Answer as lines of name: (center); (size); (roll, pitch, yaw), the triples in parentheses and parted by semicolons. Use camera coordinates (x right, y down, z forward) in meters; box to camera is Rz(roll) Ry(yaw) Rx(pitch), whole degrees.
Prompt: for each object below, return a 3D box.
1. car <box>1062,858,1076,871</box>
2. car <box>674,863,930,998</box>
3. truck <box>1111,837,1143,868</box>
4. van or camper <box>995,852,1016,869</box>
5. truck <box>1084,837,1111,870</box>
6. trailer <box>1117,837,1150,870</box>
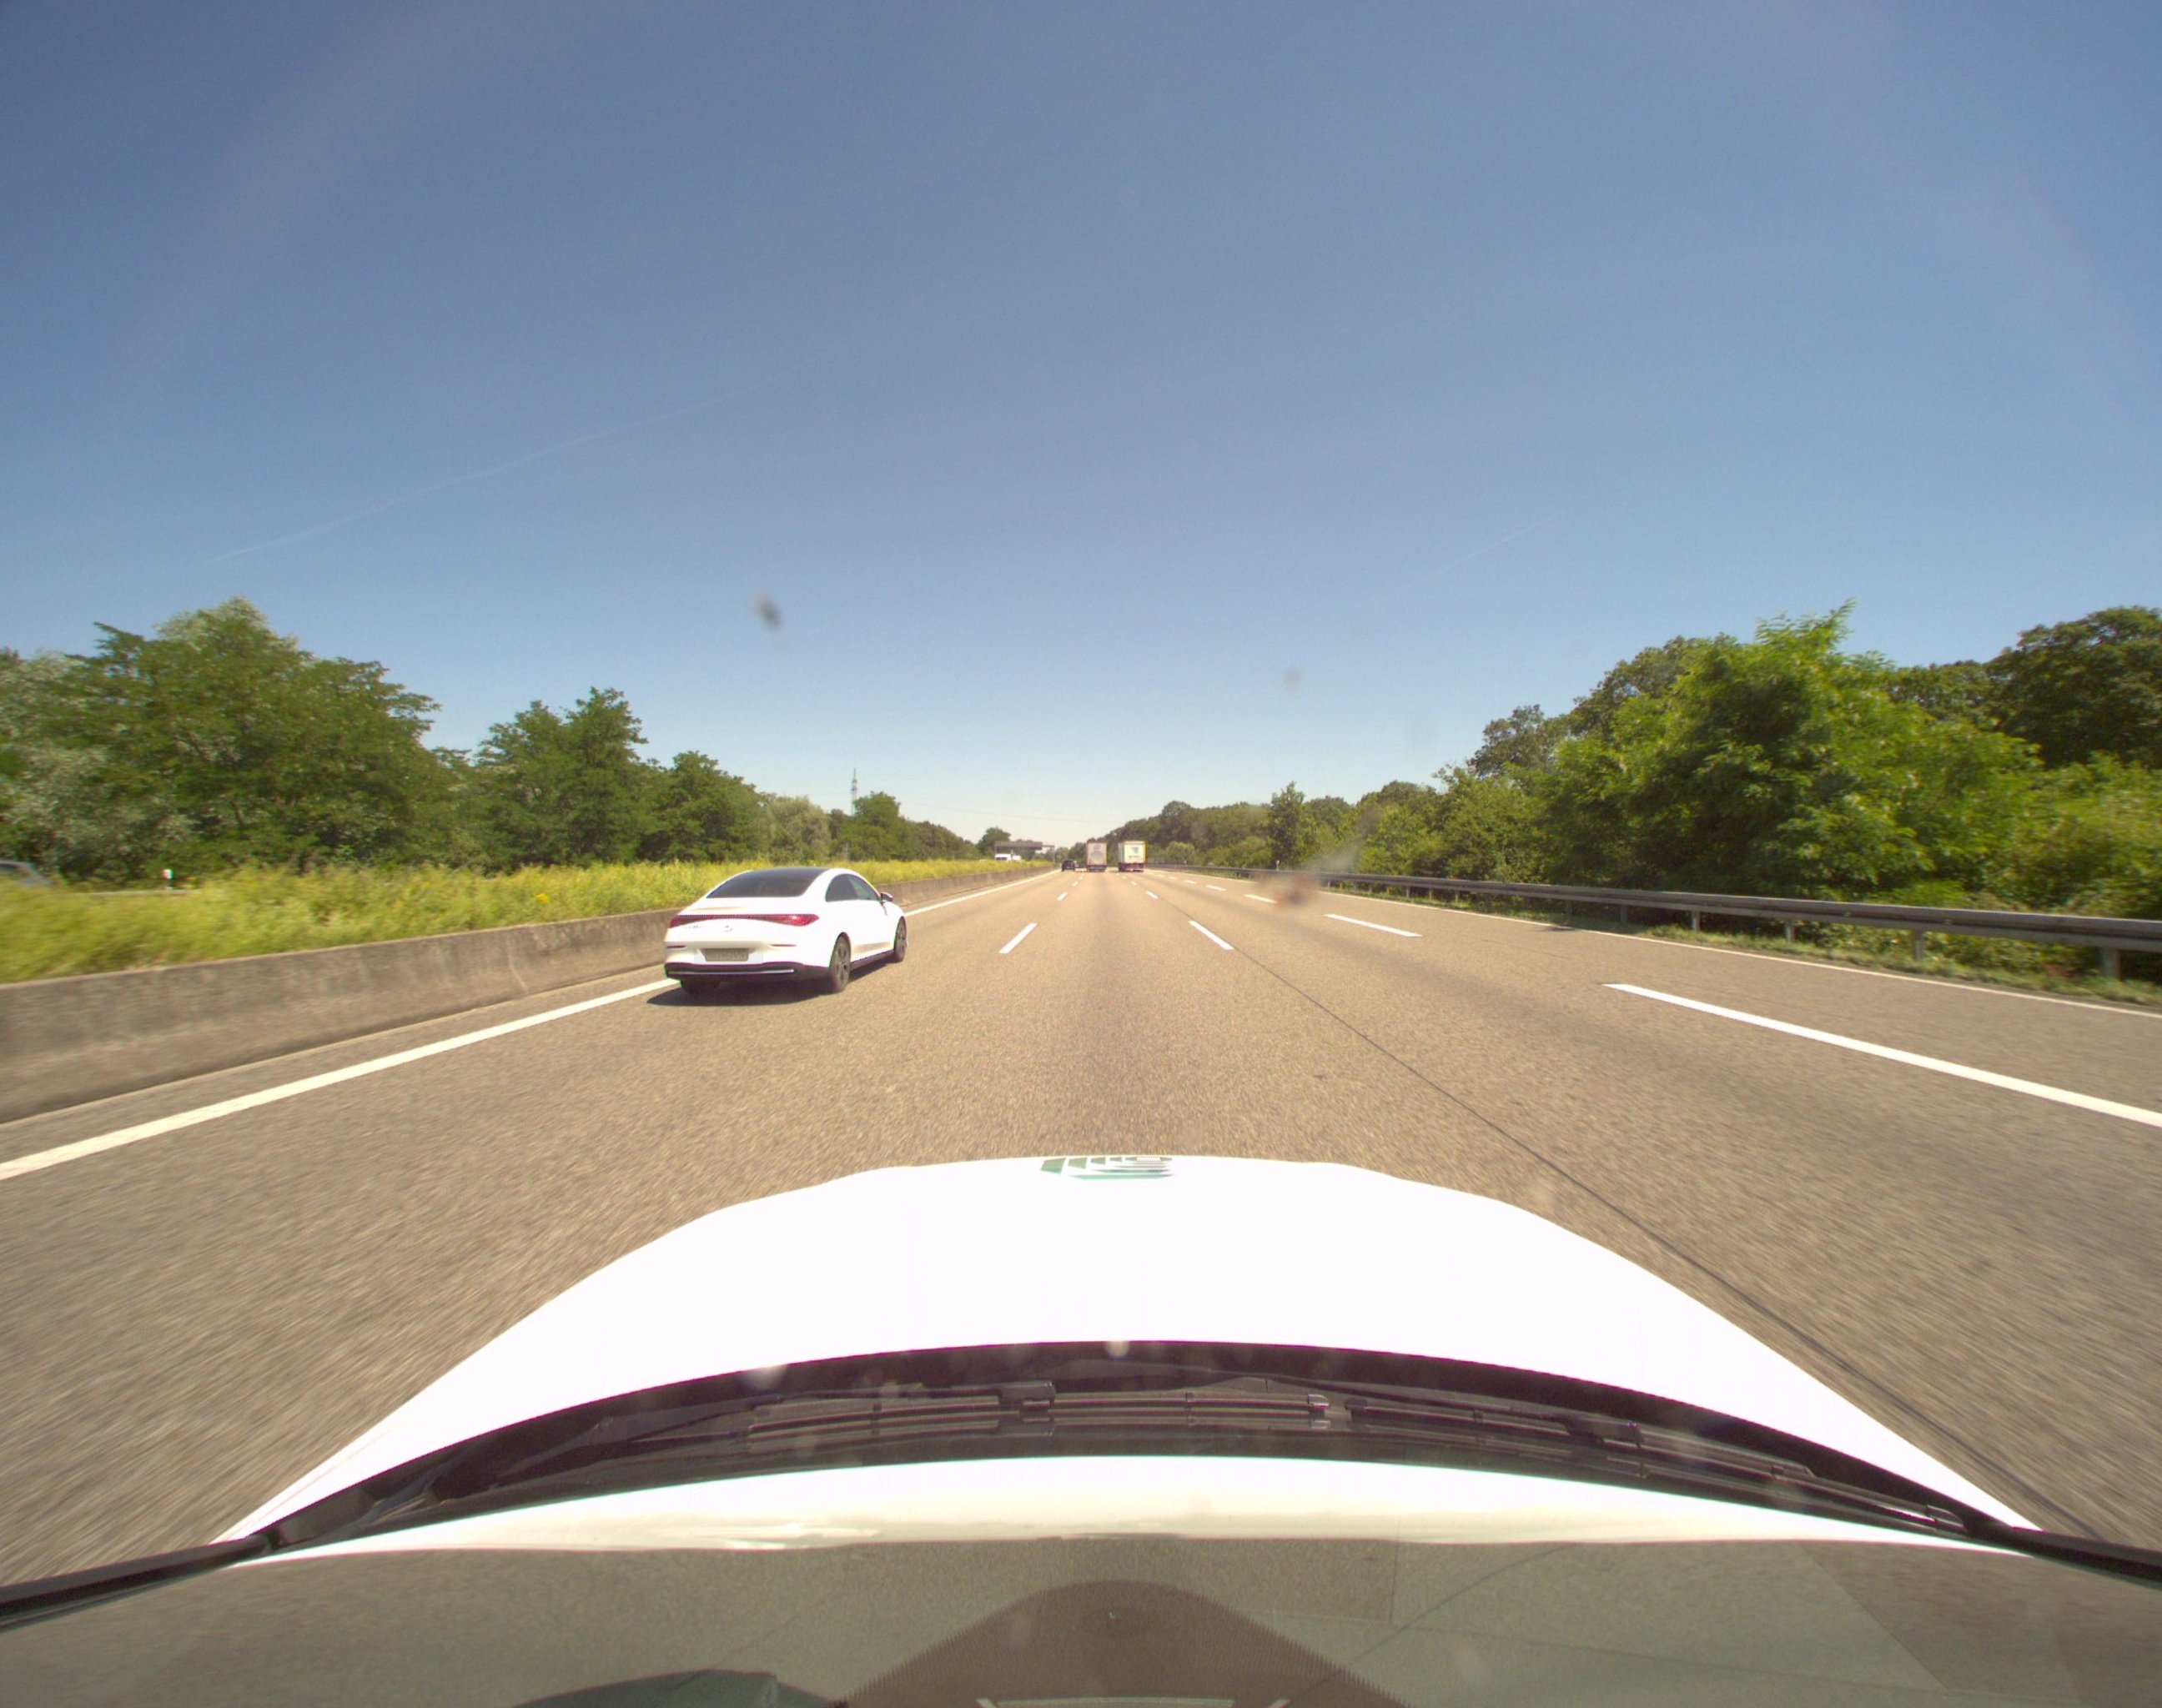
car: (-1.797, 1.561, 121.043); (1.988, 1.874, 3.997); (0, 0, -2)
car: (-3.571, 0.880, 11.576); (1.760, 1.448, 5.109); (0, 0, 1)
truck: (6.347, -0.204, 113.874); (3.318, 4.053, 10.943); (0, 0, -2)
van or camper: (-10.570, 0.908, 114.565); (2.243, 2.387, 6.758); (-1, 0, 0)
truck: (2.138, -0.035, 108.279); (3.220, 4.202, 8.461); (0, 0, -1)
trailer: (6.652, -0.097, 104.640); (3.358, 4.142, 9.085); (0, 0, -2)
